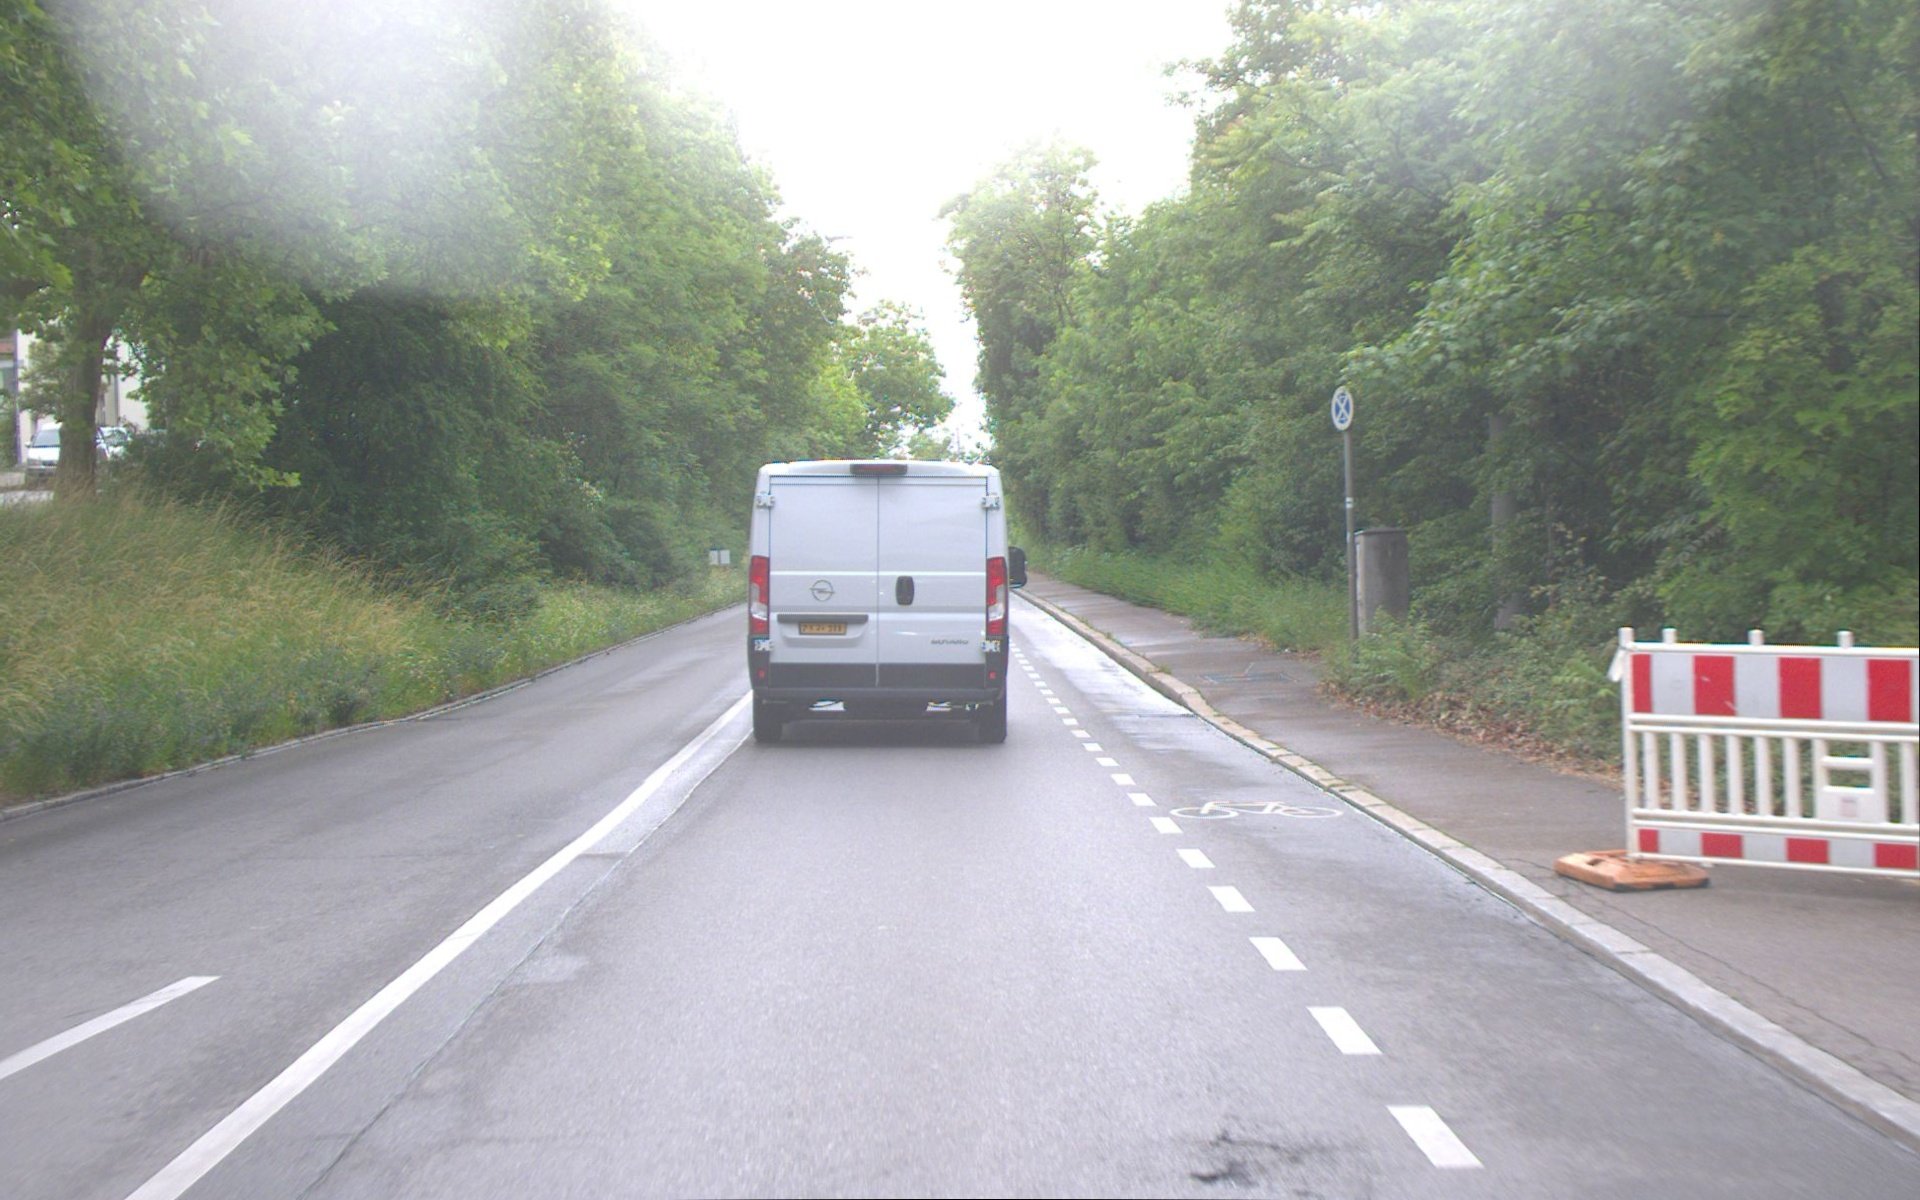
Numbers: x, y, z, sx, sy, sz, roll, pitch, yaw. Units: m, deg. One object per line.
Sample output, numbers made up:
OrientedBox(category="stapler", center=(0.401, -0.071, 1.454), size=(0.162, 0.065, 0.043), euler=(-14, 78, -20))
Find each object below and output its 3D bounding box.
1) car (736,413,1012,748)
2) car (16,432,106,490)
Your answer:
OrientedBox(category="car", center=(-0.665, -0.223, 28.770), size=(2.050, 2.508, 4.944), euler=(1, 2, 0))
OrientedBox(category="car", center=(-22.145, -3.414, 84.760), size=(1.599, 1.246, 2.911), euler=(-2, -1, -3))
